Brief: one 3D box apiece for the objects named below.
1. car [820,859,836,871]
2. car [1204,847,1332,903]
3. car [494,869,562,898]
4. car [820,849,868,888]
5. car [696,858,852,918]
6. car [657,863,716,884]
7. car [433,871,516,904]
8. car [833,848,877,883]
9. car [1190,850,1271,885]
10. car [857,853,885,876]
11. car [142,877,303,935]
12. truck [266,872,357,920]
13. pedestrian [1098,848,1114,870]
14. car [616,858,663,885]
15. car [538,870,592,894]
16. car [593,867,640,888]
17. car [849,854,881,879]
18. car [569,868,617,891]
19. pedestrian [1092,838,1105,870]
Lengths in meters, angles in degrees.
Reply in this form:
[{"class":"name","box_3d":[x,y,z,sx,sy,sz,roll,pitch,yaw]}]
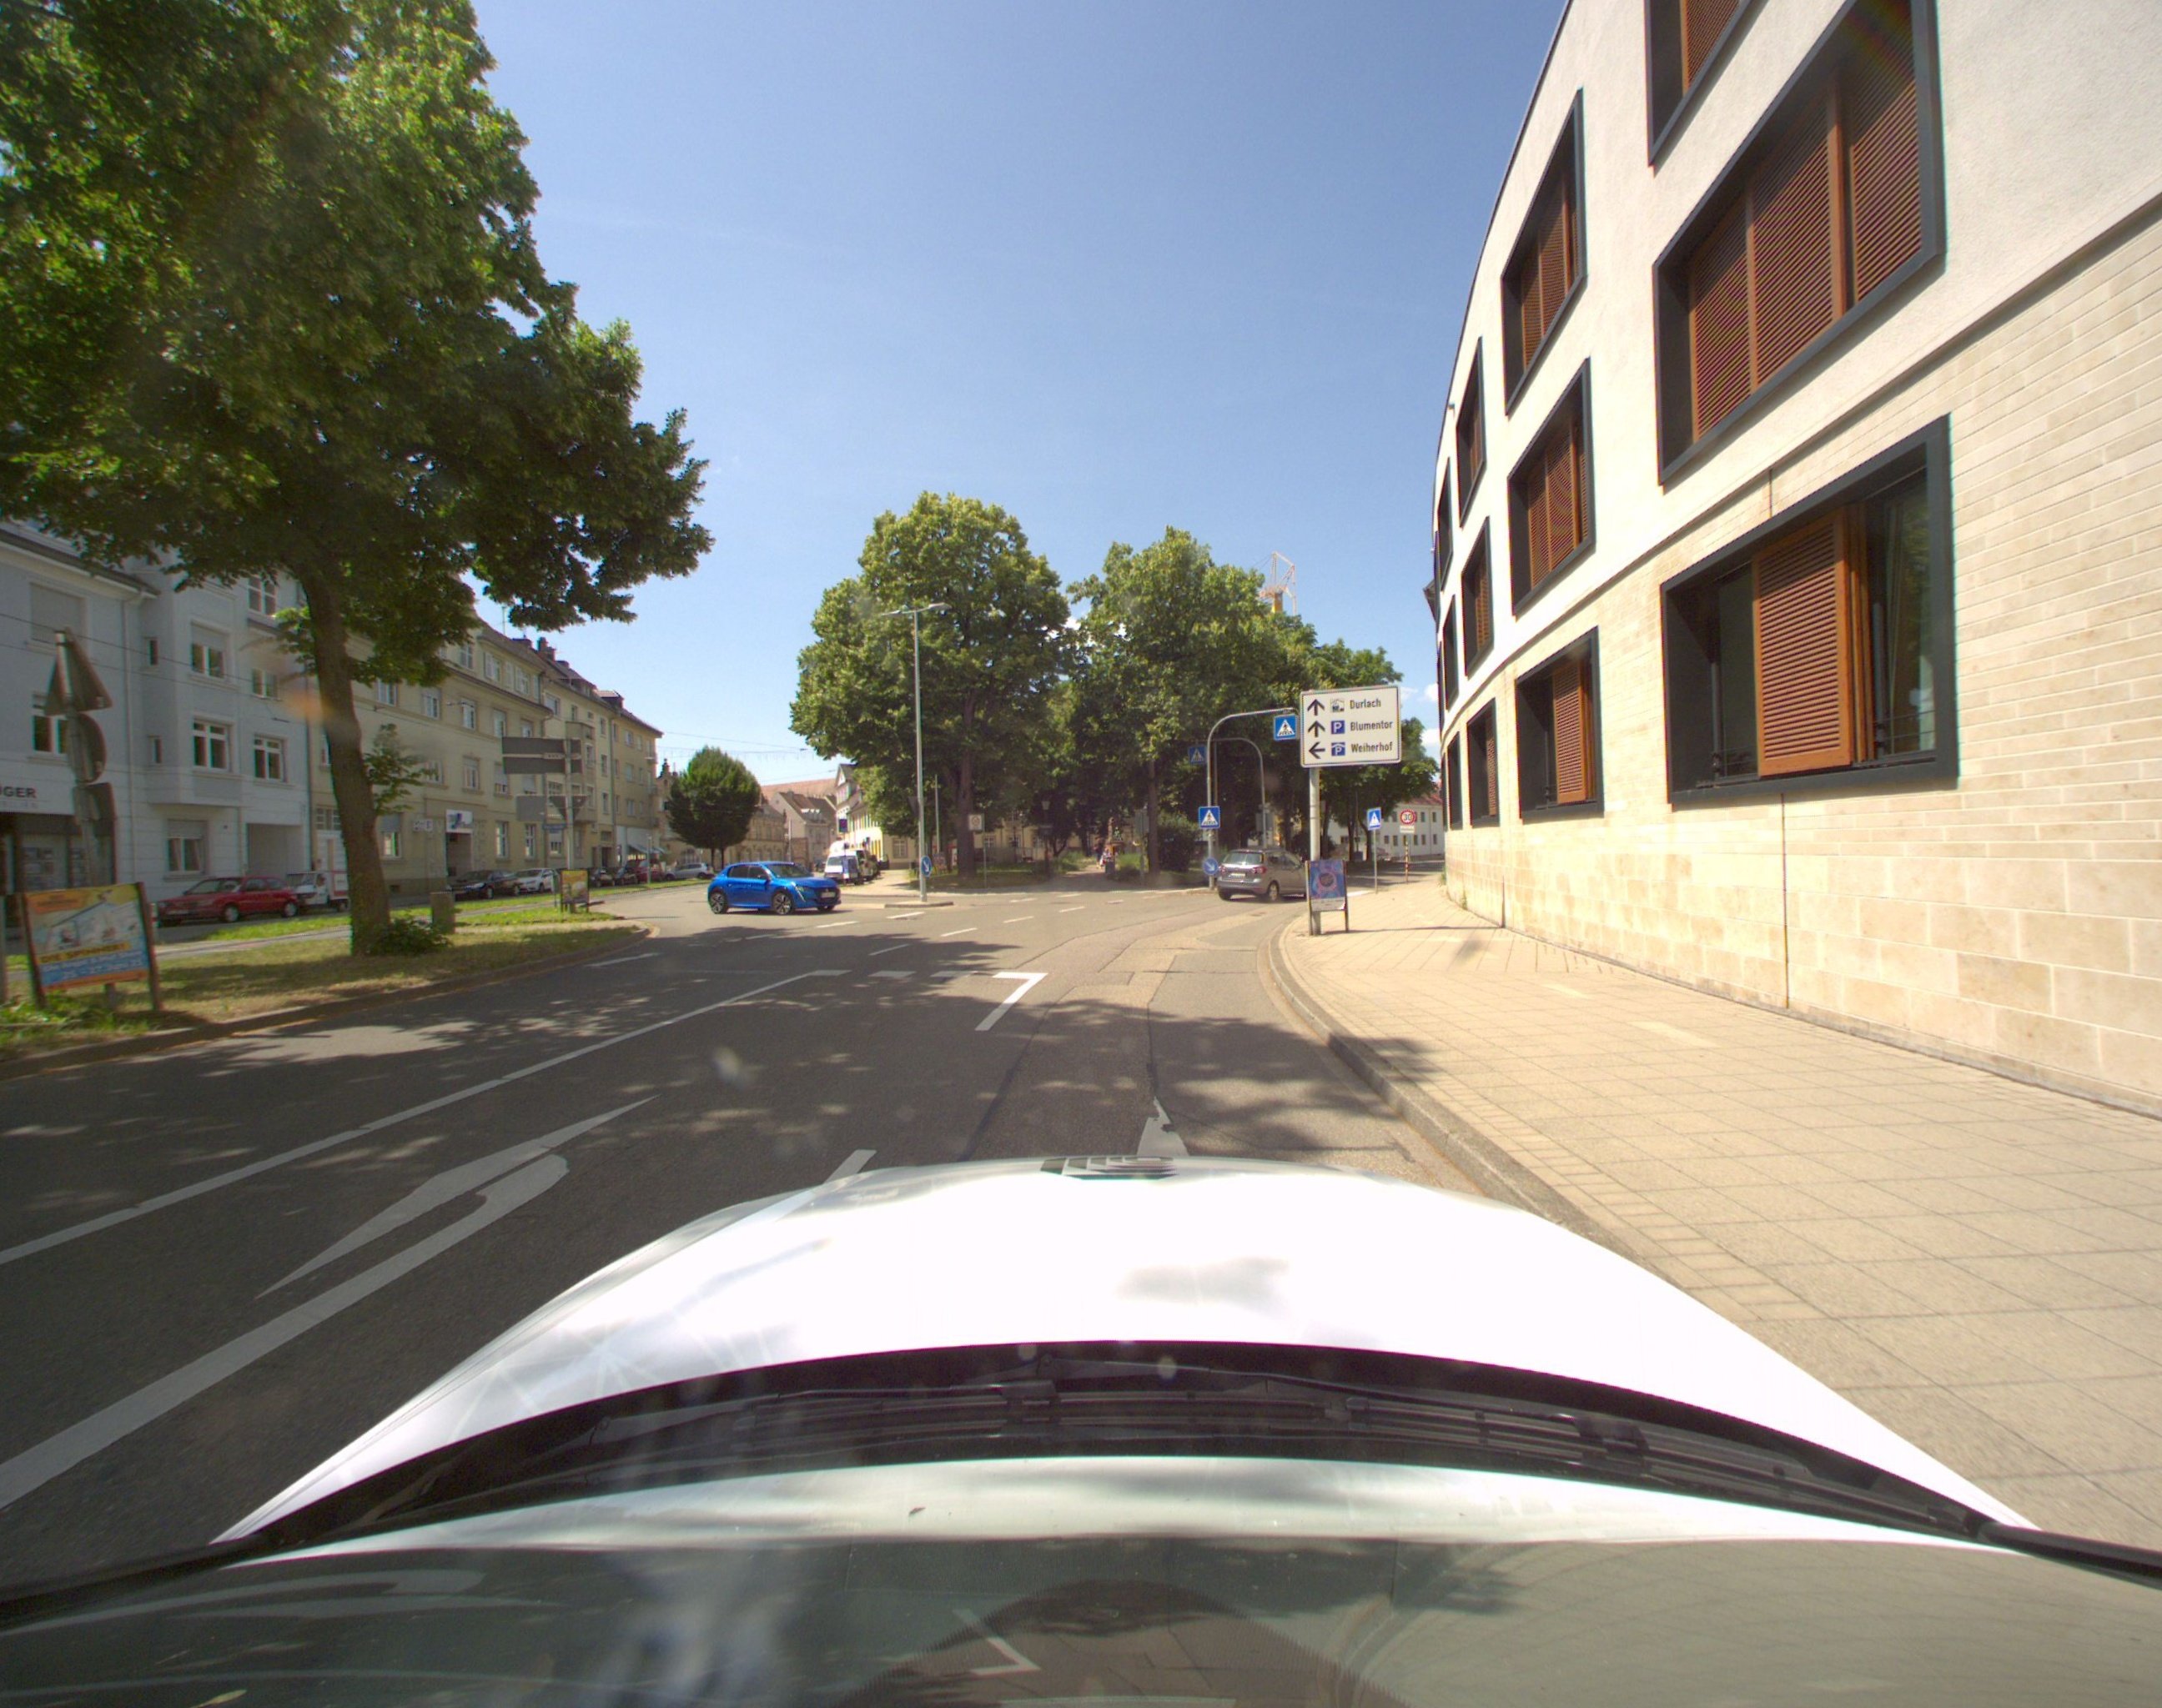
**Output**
[{"class":"car","box_3d":[-32.264,1.421,103.895,1.866,1.486,3.975,-1,0,-19]},{"class":"car","box_3d":[5.836,0.568,25.132,1.886,1.533,4.268,0,1,45]},{"class":"car","box_3d":[-30.603,1.594,45.198,1.688,1.390,3.841,-4,1,-12]},{"class":"car","box_3d":[-11.997,0.716,41.441,1.995,1.826,4.403,-1,0,-12]},{"class":"car","box_3d":[-8.567,0.902,22.692,3.950,1.492,1.826,-1,1,27]},{"class":"car","box_3d":[-33.786,1.658,69.822,4.212,1.505,1.993,-4,1,-17]},{"class":"car","box_3d":[-29.549,1.611,39.815,1.688,1.360,3.841,-4,1,-12]},{"class":"car","box_3d":[-13.679,0.658,49.581,2.050,2.002,5.229,-1,0,-11]},{"class":"car","box_3d":[7.018,0.613,37.885,1.721,1.488,4.436,-1,0,39]},{"class":"car","box_3d":[-16.411,0.773,63.782,1.784,1.693,4.185,-1,0,-11]},{"class":"car","box_3d":[-26.297,1.521,25.122,1.573,1.451,3.610,-4,1,-12]},{"class":"truck","box_3d":[-27.387,1.466,29.054,1.127,1.494,2.582,-4,1,-13]},{"class":"pedestrian","box_3d":[1.510,0.293,48.469,0.902,1.252,1.149,-1,1,3]},{"class":"car","box_3d":[-34.464,1.355,63.722,1.855,1.911,4.751,-4,1,-12]},{"class":"car","box_3d":[-31.618,1.693,50.007,1.688,1.277,3.275,-4,1,-12]},{"class":"car","box_3d":[-33.507,1.663,58.826,1.643,1.277,4.246,-4,1,-12]},{"class":"car","box_3d":[-15.021,0.851,56.875,1.784,1.624,4.469,-1,0,-11]},{"class":"car","box_3d":[-32.622,1.686,54.540,1.603,1.277,3.571,-4,1,-12]},{"class":"pedestrian","box_3d":[1.053,-0.014,49.286,0.744,1.910,0.685,-1,1,3]}]
